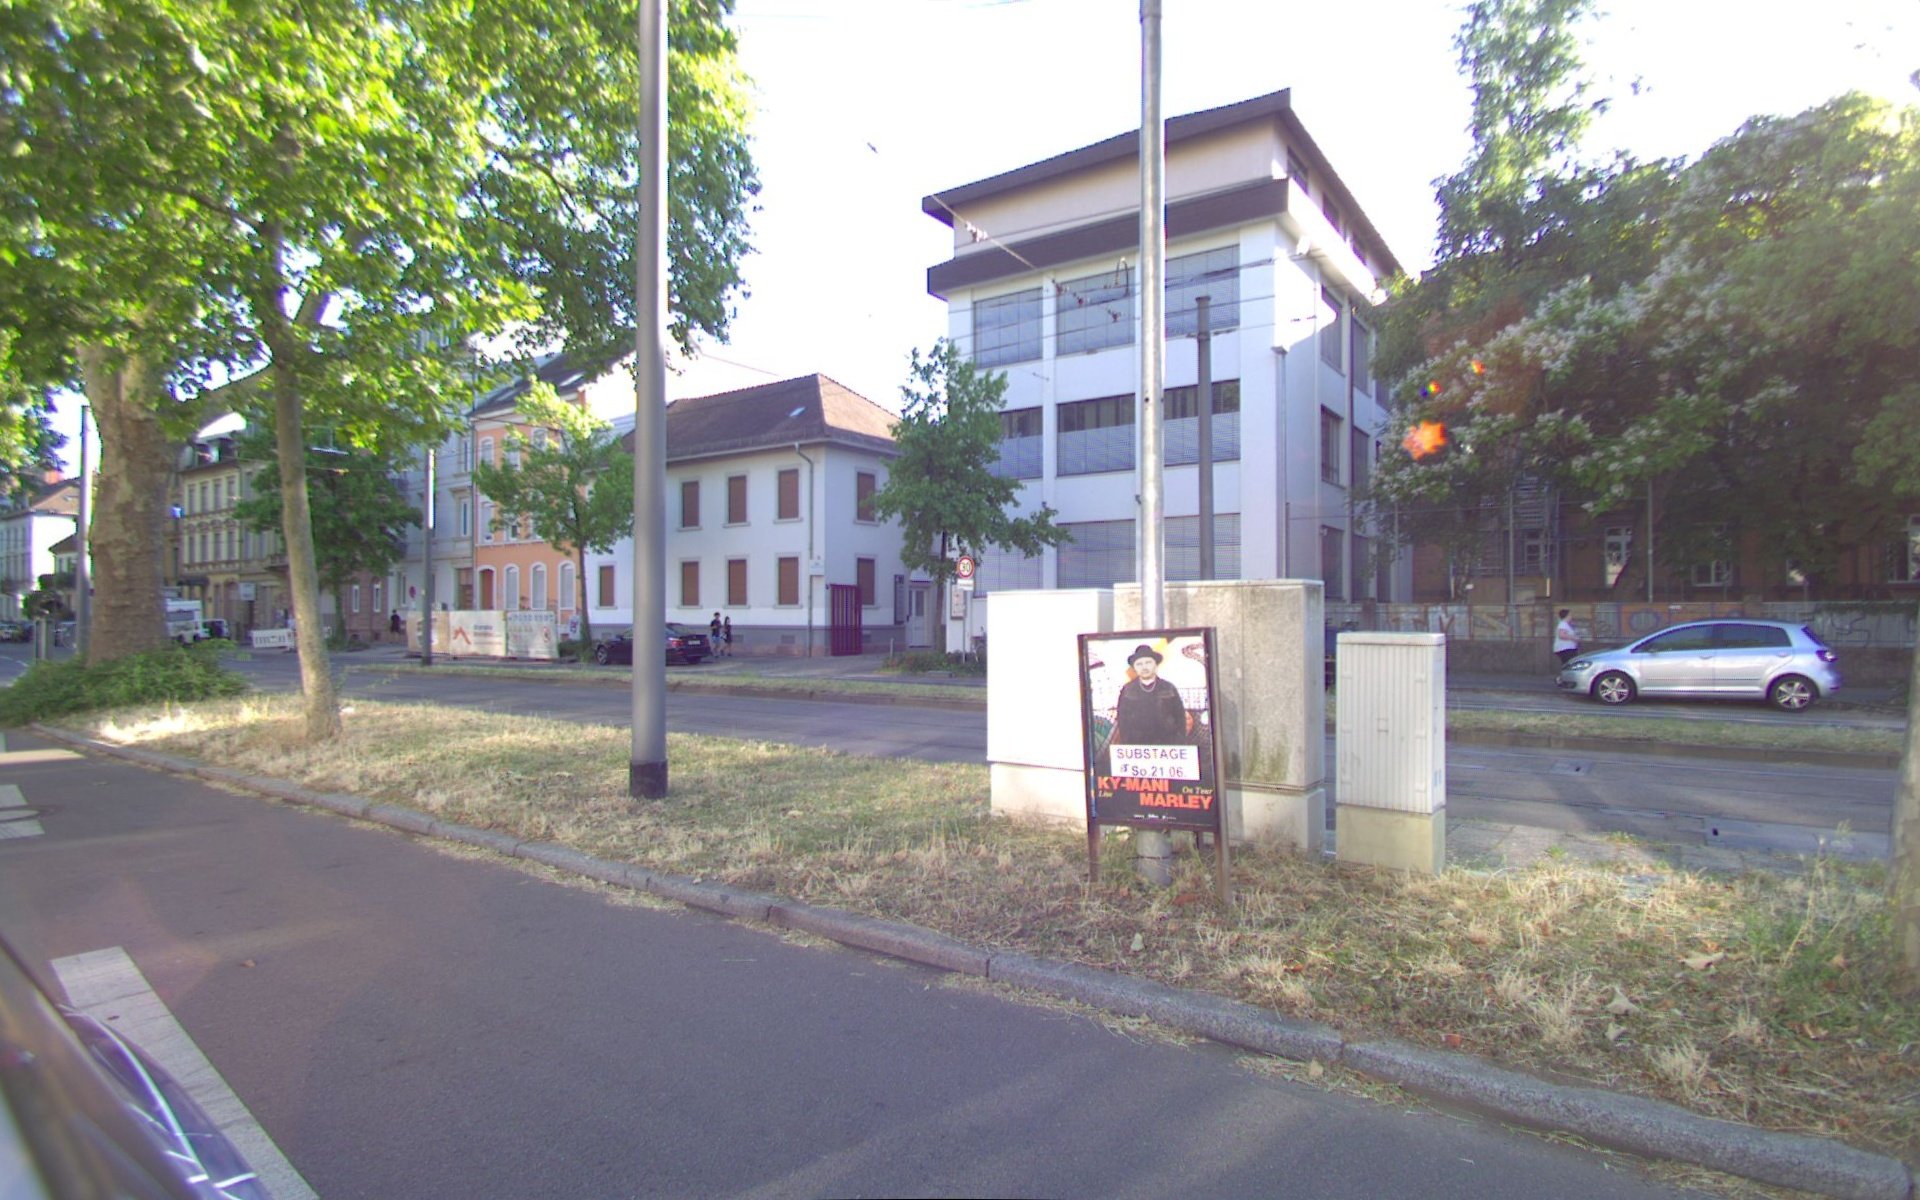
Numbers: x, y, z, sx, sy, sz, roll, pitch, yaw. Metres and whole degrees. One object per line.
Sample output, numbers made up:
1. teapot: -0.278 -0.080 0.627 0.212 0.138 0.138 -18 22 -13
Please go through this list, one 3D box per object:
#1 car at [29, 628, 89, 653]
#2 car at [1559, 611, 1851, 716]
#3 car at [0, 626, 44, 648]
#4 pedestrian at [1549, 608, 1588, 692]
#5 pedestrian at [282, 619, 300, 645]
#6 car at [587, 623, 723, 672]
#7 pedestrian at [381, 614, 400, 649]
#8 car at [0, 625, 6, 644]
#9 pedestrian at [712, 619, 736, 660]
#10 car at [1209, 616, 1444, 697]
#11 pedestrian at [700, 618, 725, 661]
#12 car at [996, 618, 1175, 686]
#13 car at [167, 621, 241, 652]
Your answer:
1. car: -63.470 2.816 71.274 4.503 1.551 2.065 -1 1 33
2. car: 13.391 1.083 18.538 4.086 1.631 2.065 -1 1 33
3. car: -73.881 2.848 79.200 5.090 1.551 2.065 -1 1 33
4. pedestrian: 12.444 1.012 20.693 0.630 1.677 0.563 -1 1 34
5. pedestrian: -39.676 1.901 60.032 0.611 1.540 0.636 -1 -2 22
6. car: -10.584 1.605 35.034 4.566 1.481 2.065 -1 1 33
7. pedestrian: -29.899 1.672 53.127 0.703 1.823 0.555 -1 -2 34
8. car: -81.347 2.892 84.108 4.027 1.551 2.065 -1 1 33
9. pedestrian: -8.861 1.474 38.023 0.710 1.540 0.531 -1 -2 35
10. car: 7.933 1.153 21.995 4.444 1.513 2.065 -1 1 33
11. pedestrian: -9.025 1.430 36.851 0.708 1.540 0.532 -1 -2 29
12. car: 3.151 1.262 25.553 3.985 1.501 2.065 -1 1 33
13. car: -44.144 2.106 59.073 4.520 1.686 2.065 -1 1 33
